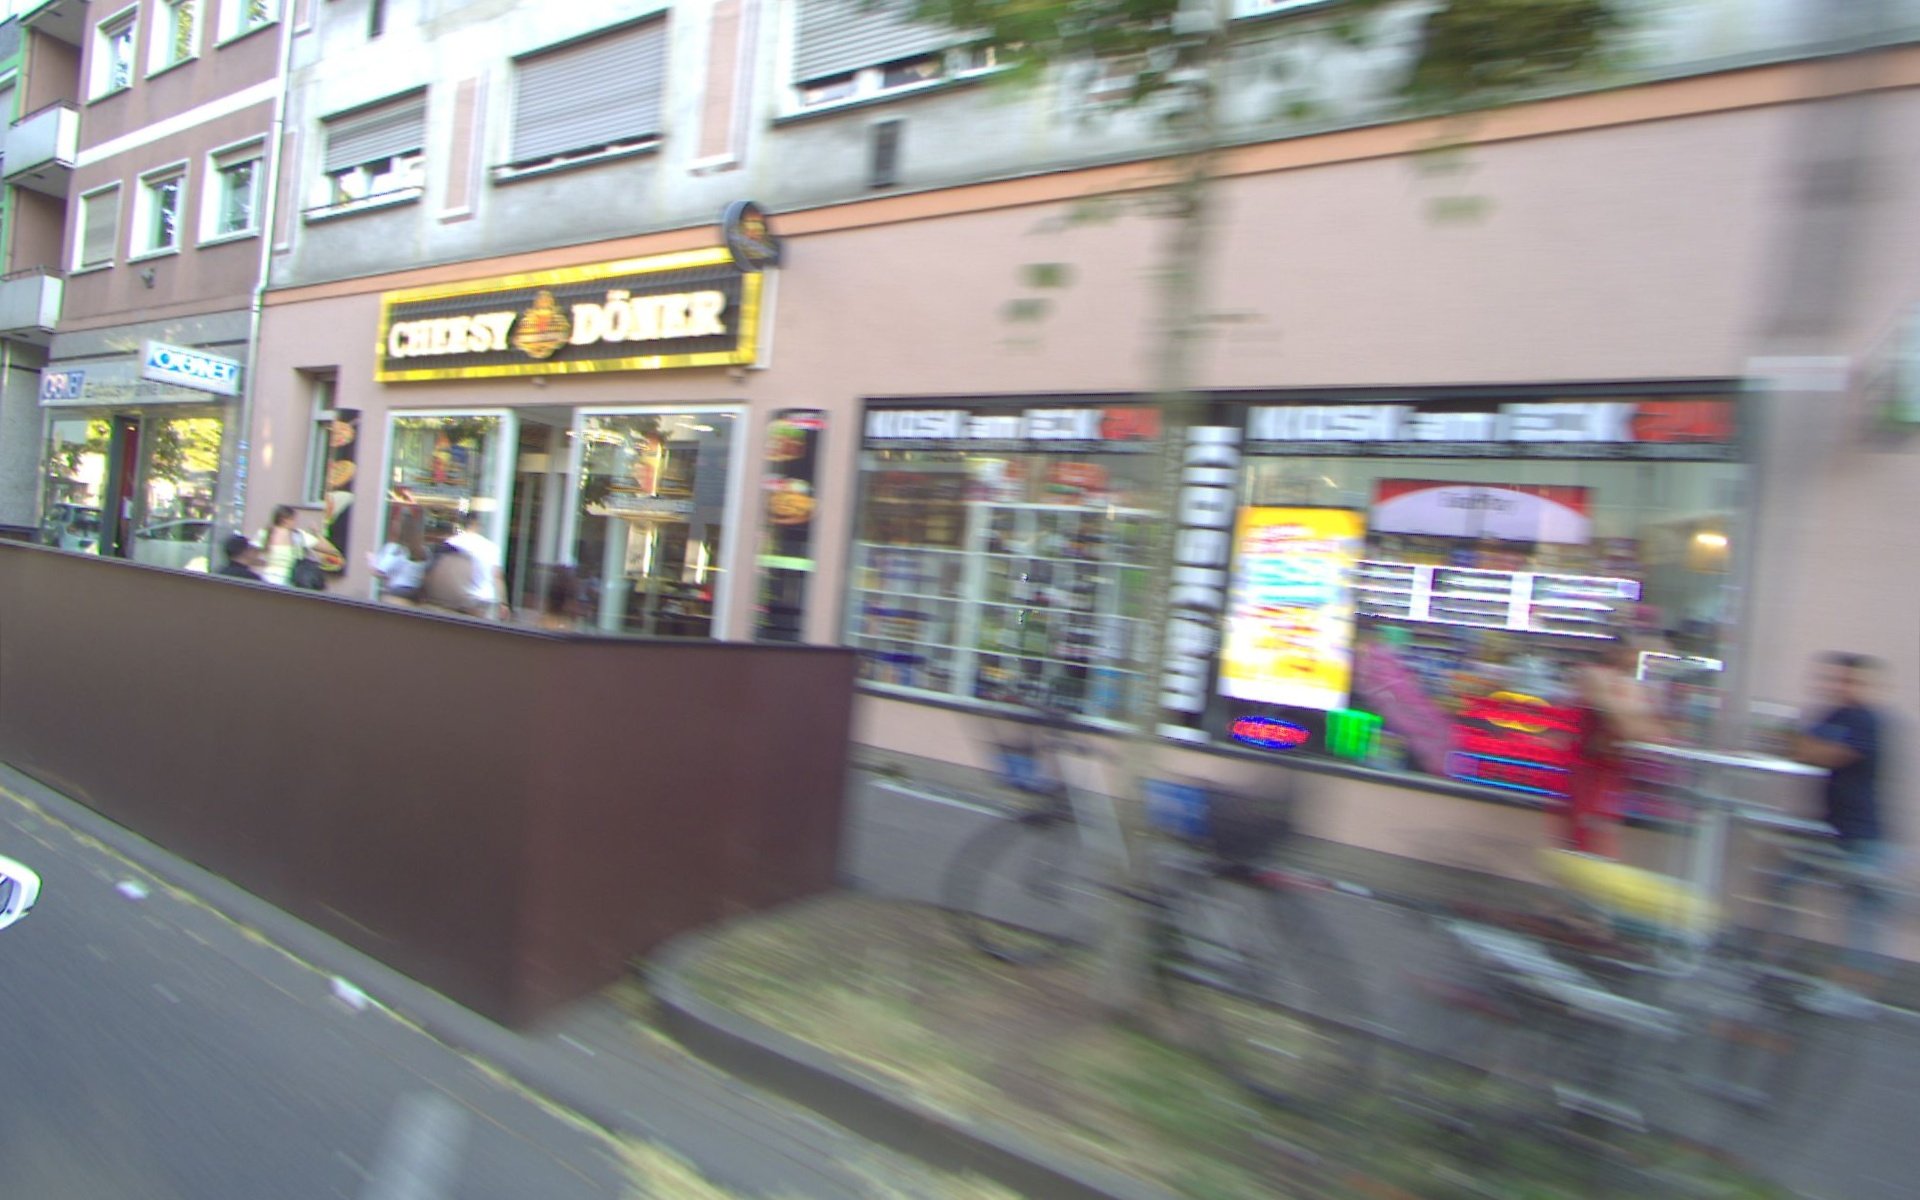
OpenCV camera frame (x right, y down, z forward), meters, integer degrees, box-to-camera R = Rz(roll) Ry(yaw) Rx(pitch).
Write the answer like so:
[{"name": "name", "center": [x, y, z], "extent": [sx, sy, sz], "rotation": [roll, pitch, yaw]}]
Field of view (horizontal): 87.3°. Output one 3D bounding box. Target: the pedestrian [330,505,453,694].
[{"name": "pedestrian", "center": [-5.444, -0.007, 9.629], "extent": [0.879, 1.701, 0.630], "rotation": [7, 1, 40]}]

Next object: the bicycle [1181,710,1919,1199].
[{"name": "bicycle", "center": [1.569, 0.907, 2.407], "extent": [1.937, 1.087, 0.701], "rotation": [7, 0, -27]}]

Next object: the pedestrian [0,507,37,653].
[{"name": "pedestrian", "center": [-9.627, -0.233, 9.753], "extent": [0.768, 1.395, 0.727], "rotation": [7, 1, 32]}]

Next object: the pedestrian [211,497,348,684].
[{"name": "pedestrian", "center": [-6.447, -0.093, 9.531], "extent": [0.900, 1.646, 0.794], "rotation": [7, 1, 44]}]

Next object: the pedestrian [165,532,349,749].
[{"name": "pedestrian", "center": [-4.975, 0.280, 7.130], "extent": [0.768, 1.395, 0.727], "rotation": [7, 1, 32]}]

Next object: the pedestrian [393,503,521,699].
[{"name": "pedestrian", "center": [-4.985, 0.007, 9.970], "extent": [0.879, 1.827, 0.697], "rotation": [7, 1, 40]}]

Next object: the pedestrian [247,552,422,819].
[{"name": "pedestrian", "center": [-3.287, 0.432, 5.296], "extent": [0.521, 1.286, 0.508], "rotation": [7, 1, 32]}]

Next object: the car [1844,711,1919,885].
[{"name": "car", "center": [9.504, 1.929, 8.046], "extent": [1.755, 1.506, 3.677], "rotation": [8, 0, 8]}]

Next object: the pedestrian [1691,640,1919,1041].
[{"name": "pedestrian", "center": [3.875, 1.024, 4.586], "extent": [0.652, 1.605, 0.567], "rotation": [8, 3, 32]}]

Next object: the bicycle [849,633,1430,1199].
[{"name": "bicycle", "center": [0.431, 0.806, 3.292], "extent": [0.595, 1.192, 1.826], "rotation": [6, 0, -38]}]

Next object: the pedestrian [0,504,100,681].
[{"name": "pedestrian", "center": [-7.770, -0.075, 8.312], "extent": [0.768, 1.395, 0.727], "rotation": [7, 1, 32]}]

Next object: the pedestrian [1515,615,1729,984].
[{"name": "pedestrian", "center": [3.238, 0.924, 4.974], "extent": [0.652, 1.621, 0.567], "rotation": [8, 3, 32]}]
